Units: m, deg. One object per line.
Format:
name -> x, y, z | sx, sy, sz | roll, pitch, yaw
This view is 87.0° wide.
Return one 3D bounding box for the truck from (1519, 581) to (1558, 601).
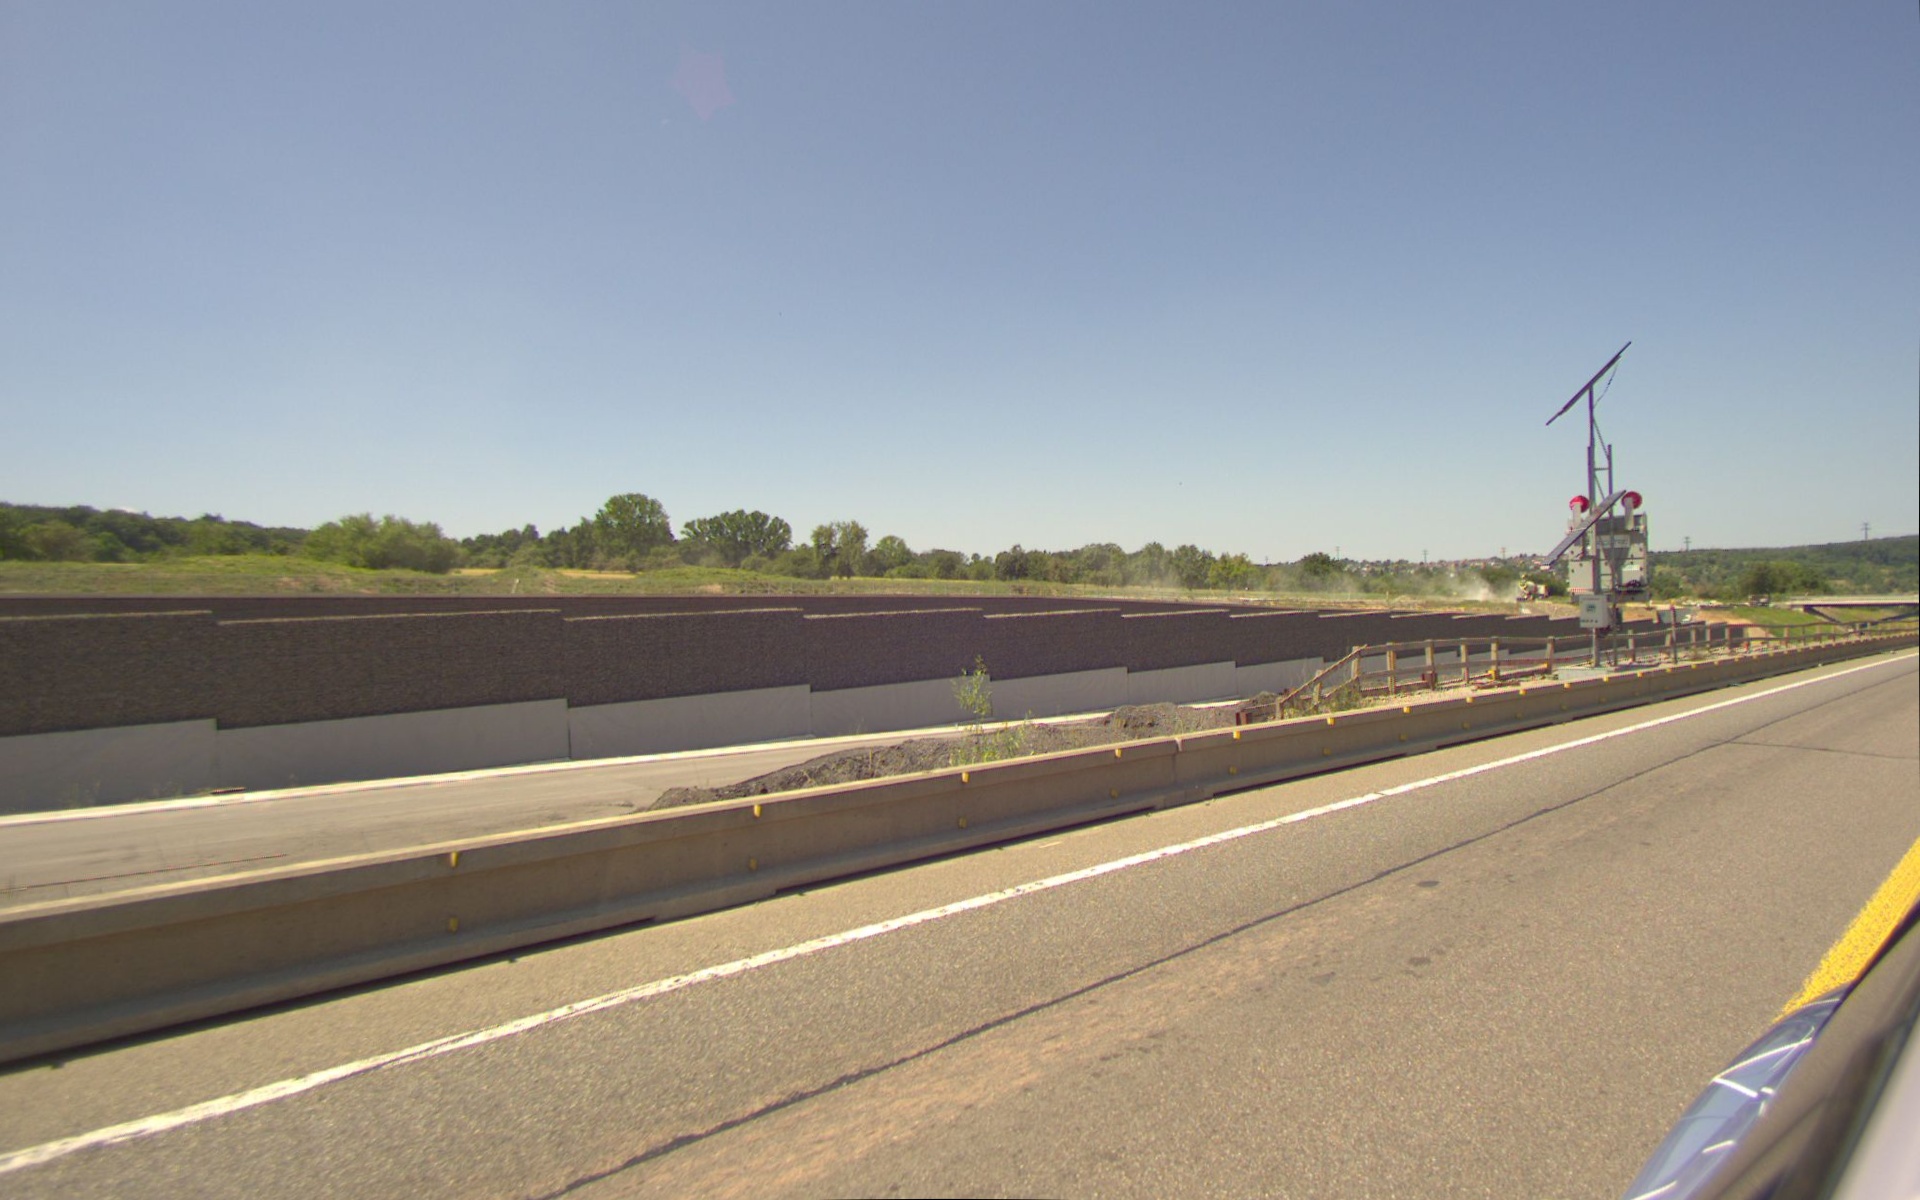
truck -> 106.203, -1.560, 185.673 | 8.594, 3.510, 3.156 | 0, -1, -37
